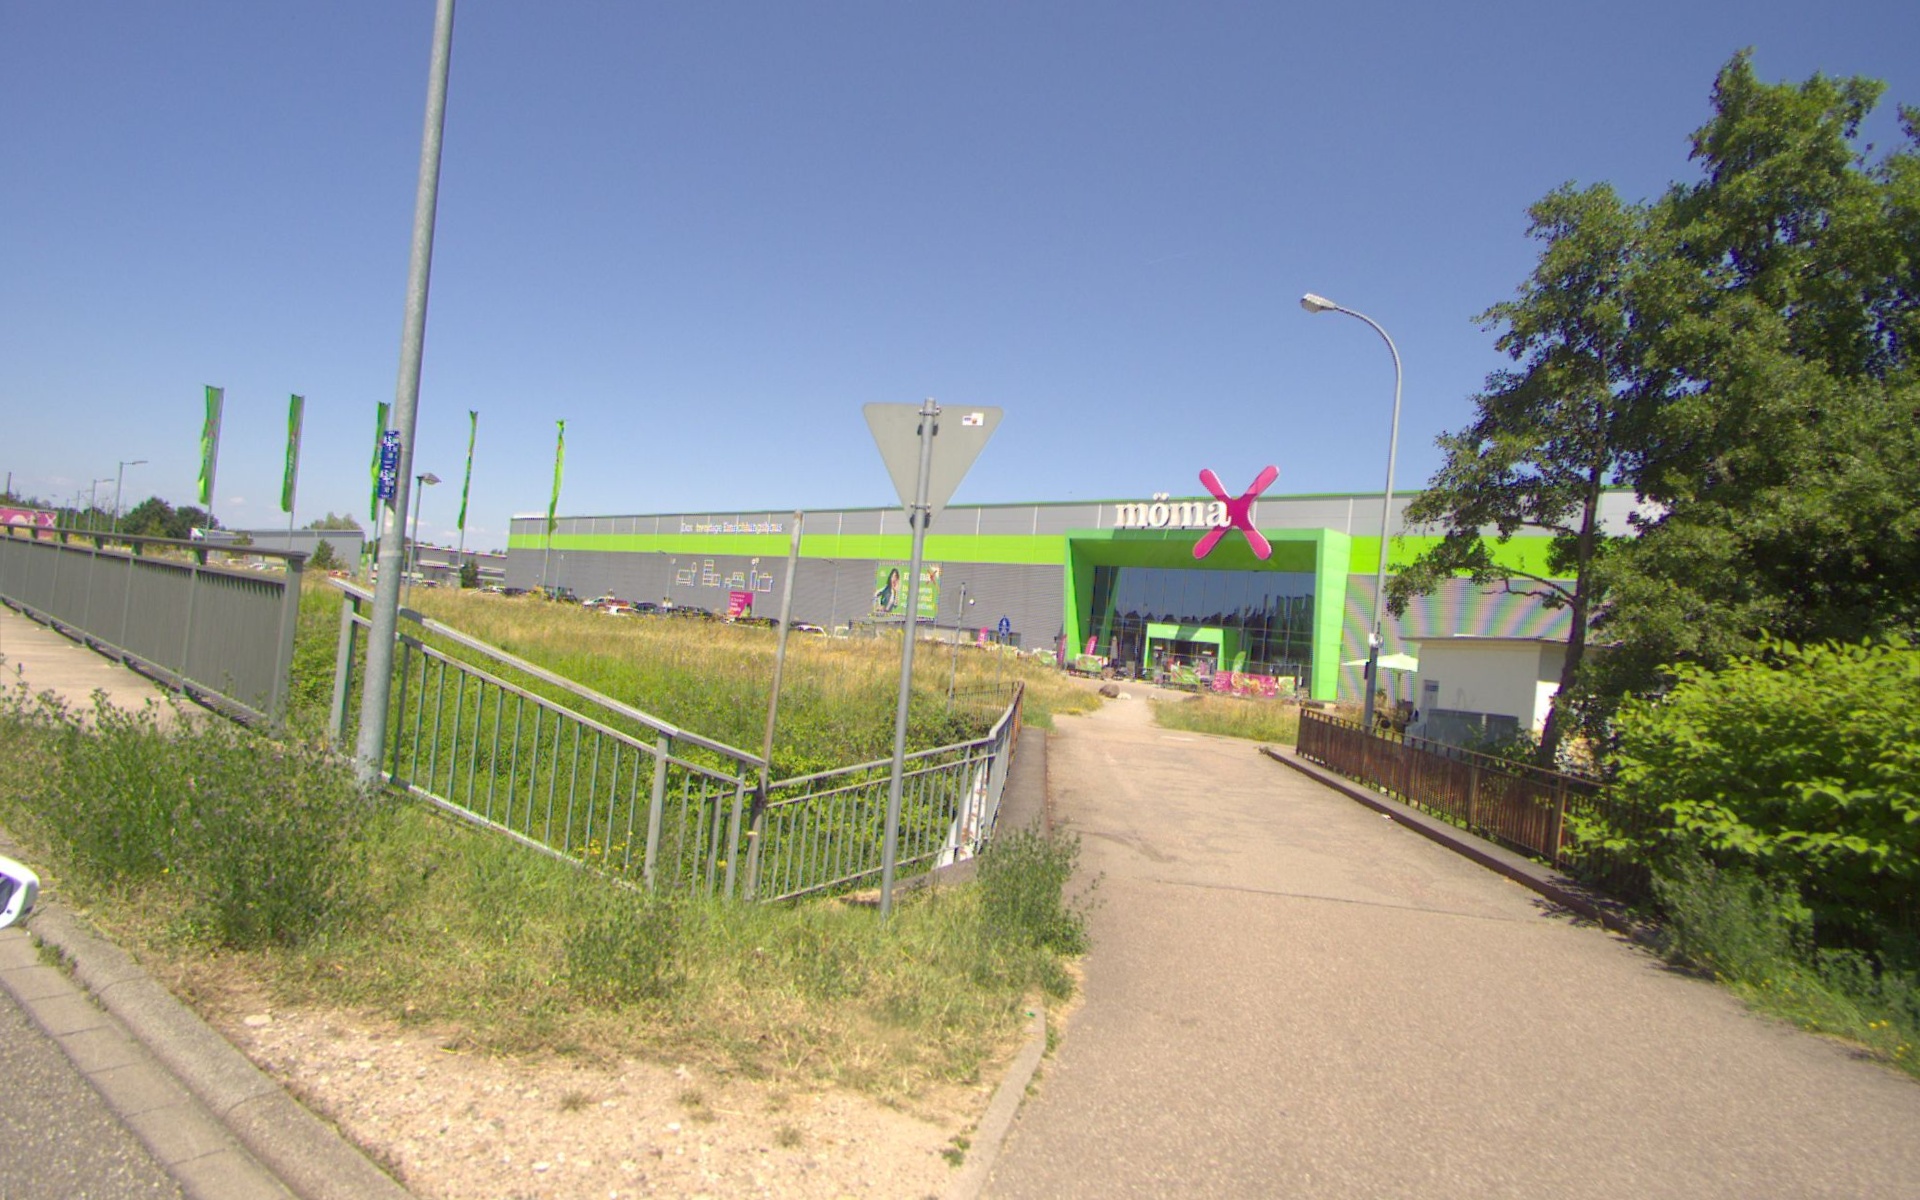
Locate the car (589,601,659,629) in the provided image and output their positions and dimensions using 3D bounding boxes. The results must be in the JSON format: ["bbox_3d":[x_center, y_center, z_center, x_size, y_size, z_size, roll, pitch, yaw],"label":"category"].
[{"bbox_3d":[-22.835,1.026,68.461,3.973,1.549,1.924,6,-2,-44],"label":"car"}]

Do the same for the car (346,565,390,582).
[{"bbox_3d":[-69.114,-3.097,117.484,1.976,1.536,3.976,3,-3,45],"label":"car"}]

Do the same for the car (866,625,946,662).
[{"bbox_3d":[-2.887,2.358,54.466,3.973,1.674,1.893,6,-2,-44],"label":"car"}]

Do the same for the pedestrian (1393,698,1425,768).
[{"bbox_3d":[10.455,3.085,23.449,0.406,1.556,0.439,8,-1,13],"label":"pedestrian"}]

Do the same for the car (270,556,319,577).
[{"bbox_3d":[-66.541,-3.333,100.615,3.725,1.588,1.868,9,-3,-43],"label":"car"}]
